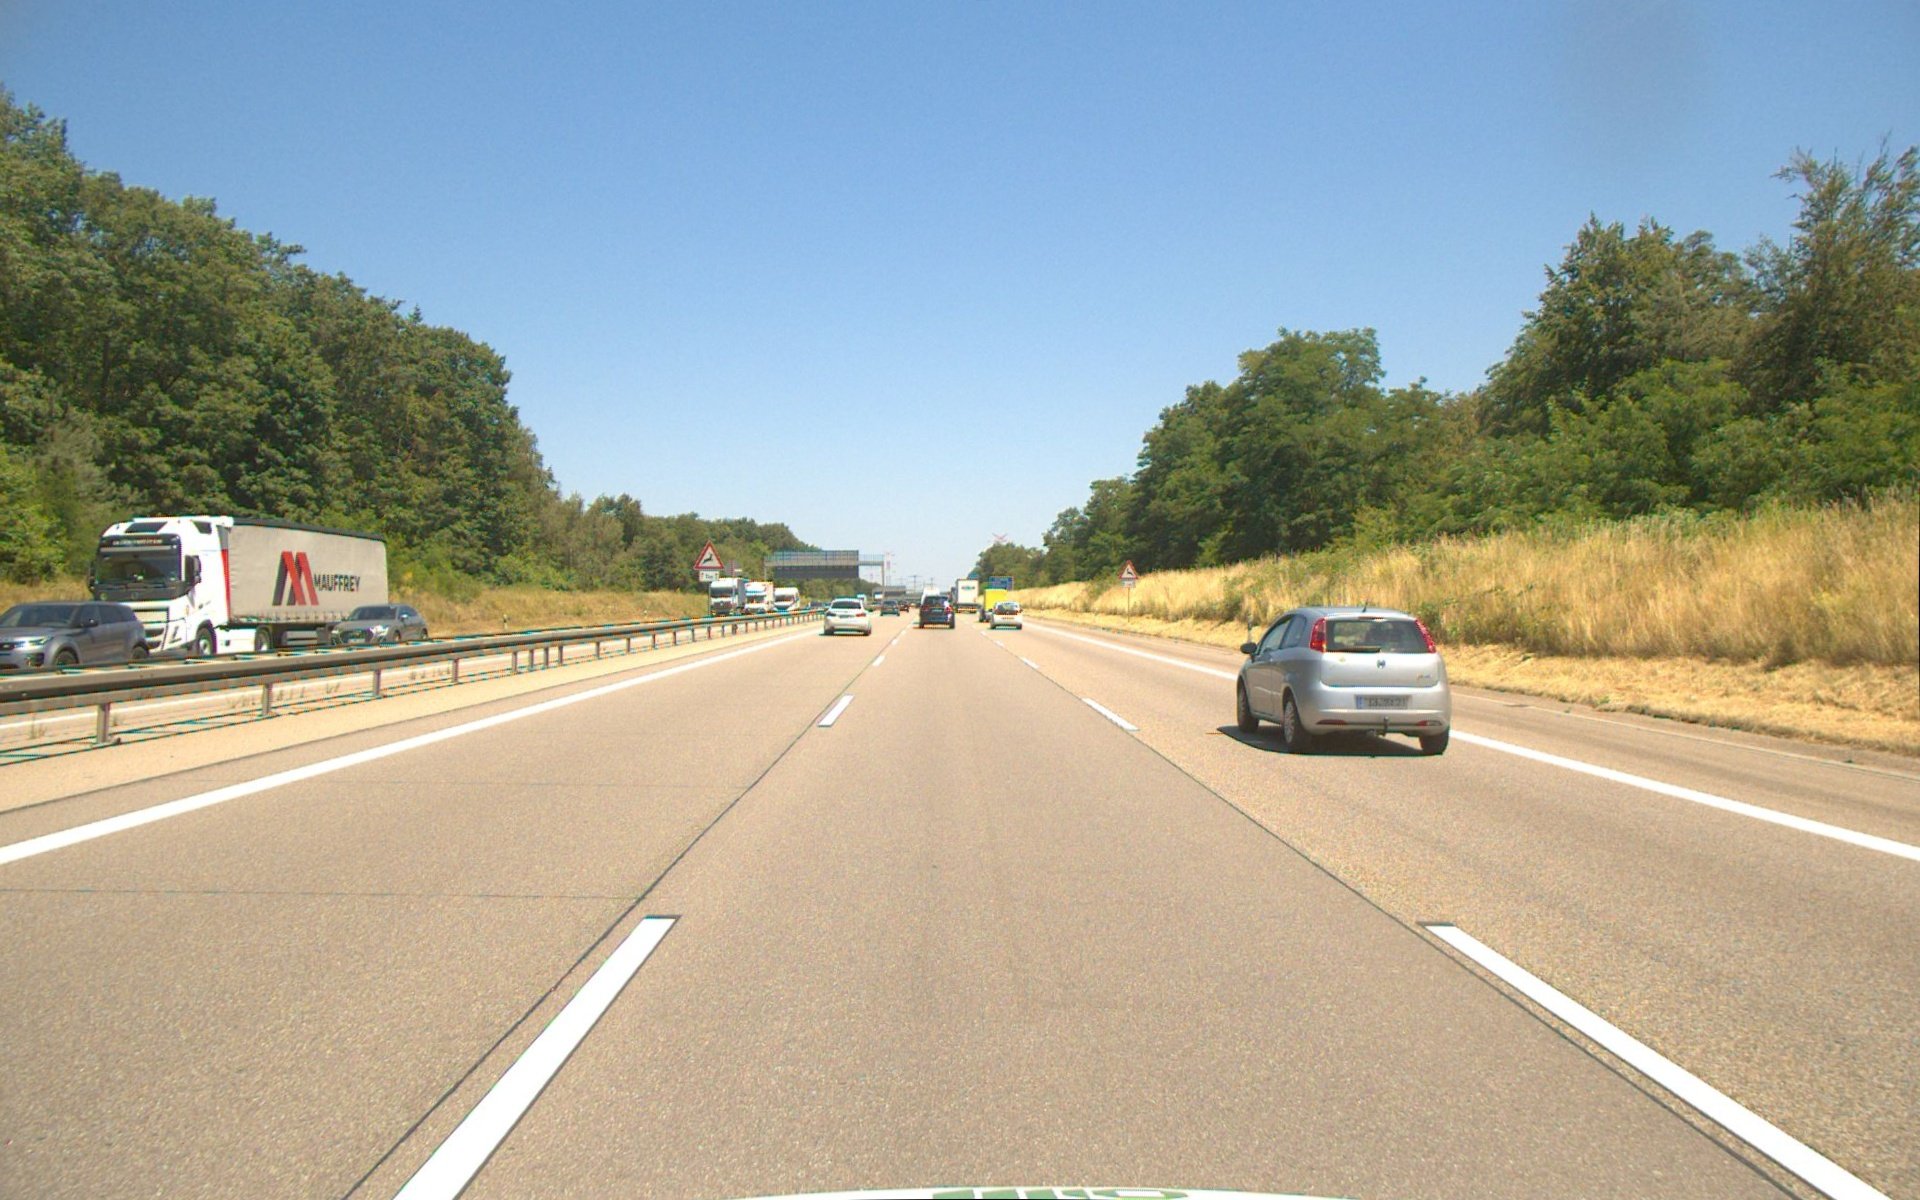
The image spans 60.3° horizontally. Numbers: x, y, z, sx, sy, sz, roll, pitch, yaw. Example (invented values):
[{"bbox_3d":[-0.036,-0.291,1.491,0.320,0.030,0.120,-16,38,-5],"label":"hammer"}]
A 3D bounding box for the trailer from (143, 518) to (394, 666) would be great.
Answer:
[{"bbox_3d":[-21.704,-0.232,53.088,2.852,4.061,12.953,-2,0,-2],"label":"trailer"}]

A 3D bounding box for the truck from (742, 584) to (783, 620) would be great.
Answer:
[{"bbox_3d":[-18.959,0.183,158.925,3.365,3.403,5.235,-1,0,-2],"label":"truck"}]

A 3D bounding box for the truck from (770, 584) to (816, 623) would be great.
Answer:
[{"bbox_3d":[-15.276,0.333,152.122,3.364,3.403,10.568,-1,0,-1],"label":"truck"}]

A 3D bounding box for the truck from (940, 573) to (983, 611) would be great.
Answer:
[{"bbox_3d":[0.095,-0.971,204.673,3.917,4.390,9.864,2,0,-8],"label":"truck"}]

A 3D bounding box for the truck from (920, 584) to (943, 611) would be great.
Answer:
[{"bbox_3d":[-3.182,-0.285,183.297,2.380,2.935,6.201,1,0,-3],"label":"truck"}]

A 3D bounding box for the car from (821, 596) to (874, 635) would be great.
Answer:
[{"bbox_3d":[-4.611,0.599,68.256,1.924,1.530,5.403,1,0,-1],"label":"car"}]

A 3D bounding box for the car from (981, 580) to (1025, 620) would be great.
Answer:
[{"bbox_3d":[2.946,0.016,115.503,2.613,2.680,6.109,1,0,-3],"label":"car"}]

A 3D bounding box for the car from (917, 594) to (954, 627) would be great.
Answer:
[{"bbox_3d":[-1.332,0.543,87.541,1.795,1.701,3.998,1,0,-3],"label":"car"}]

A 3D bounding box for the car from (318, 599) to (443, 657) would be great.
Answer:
[{"bbox_3d":[-17.471,0.808,50.139,1.953,1.595,5.189,-2,0,-1],"label":"car"}]

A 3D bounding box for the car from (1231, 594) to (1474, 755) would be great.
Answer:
[{"bbox_3d":[4.176,0.730,18.165,1.684,1.517,3.736,1,1,-1],"label":"car"}]

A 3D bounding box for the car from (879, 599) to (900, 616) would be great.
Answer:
[{"bbox_3d":[-6.511,0.697,152.942,1.795,1.456,4.998,1,0,-1],"label":"car"}]

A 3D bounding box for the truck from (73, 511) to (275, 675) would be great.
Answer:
[{"bbox_3d":[-21.477,-0.188,45.547,2.846,4.138,5.651,-2,0,-2],"label":"truck"}]

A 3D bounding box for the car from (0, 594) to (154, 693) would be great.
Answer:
[{"bbox_3d":[-16.508,0.737,29.262,1.953,1.595,5.189,-2,0,-1],"label":"car"}]

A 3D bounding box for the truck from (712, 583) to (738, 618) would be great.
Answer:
[{"bbox_3d":[-23.247,0.026,163.618,2.076,3.403,3.999,-1,0,-2],"label":"truck"}]

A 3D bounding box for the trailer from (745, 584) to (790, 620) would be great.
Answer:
[{"bbox_3d":[-19.067,0.175,164.568,3.364,3.403,12.019,-1,0,-1],"label":"trailer"}]

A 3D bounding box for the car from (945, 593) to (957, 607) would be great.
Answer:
[{"bbox_3d":[-1.372,-0.012,253.209,1.525,2.049,3.899,2,0,-2],"label":"car"}]

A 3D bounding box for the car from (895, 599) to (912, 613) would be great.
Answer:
[{"bbox_3d":[-6.932,0.743,202.779,1.837,1.608,3.928,1,1,1],"label":"car"}]

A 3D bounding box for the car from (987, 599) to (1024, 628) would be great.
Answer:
[{"bbox_3d":[2.423,0.709,88.693,1.784,1.518,3.736,1,0,-1],"label":"car"}]
